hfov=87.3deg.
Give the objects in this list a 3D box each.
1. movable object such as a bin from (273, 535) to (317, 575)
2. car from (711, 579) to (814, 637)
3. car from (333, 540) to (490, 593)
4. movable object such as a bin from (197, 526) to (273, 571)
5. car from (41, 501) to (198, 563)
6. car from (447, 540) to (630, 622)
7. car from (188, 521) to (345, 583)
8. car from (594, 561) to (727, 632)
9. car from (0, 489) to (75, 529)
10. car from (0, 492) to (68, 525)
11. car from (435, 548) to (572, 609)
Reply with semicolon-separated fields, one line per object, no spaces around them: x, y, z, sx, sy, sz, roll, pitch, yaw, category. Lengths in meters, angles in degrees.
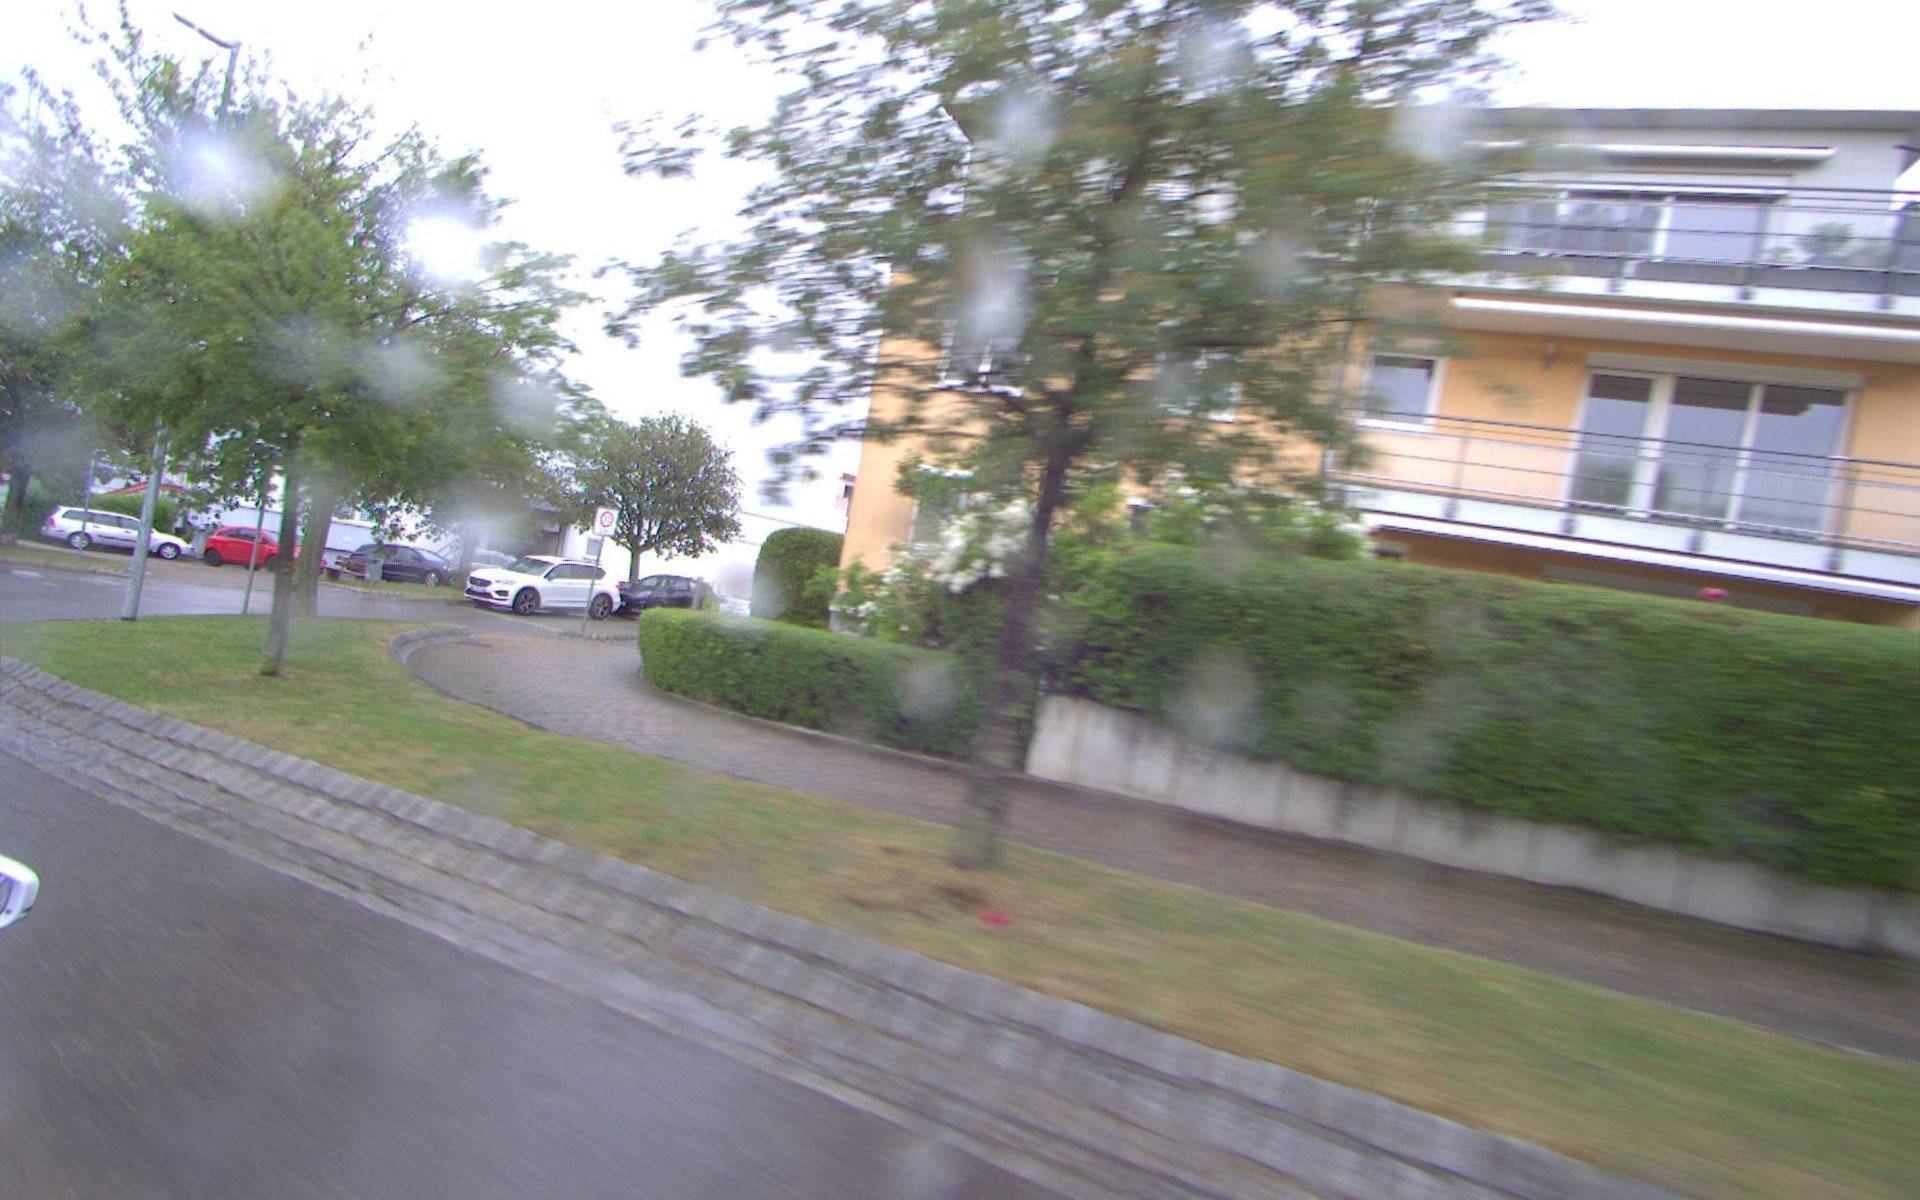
-28.237;-1.908;42.702;1.301;1.514;1.016;7;0;-43;movable object such as a bin
-7.513;0.347;38.622;1.802;1.687;3.830;7;-2;26;car
-19.875;-1.203;36.519;4.738;1.603;1.861;2;-2;7;car
-29.653;-2.107;41.146;2.259;1.522;1.712;7;0;-43;movable object such as a bin
-31.667;-2.548;37.990;1.834;1.602;4.305;6;-3;44;car
-12.069;-0.467;29.157;1.912;1.837;4.711;7;0;25;car
-23.448;-1.616;34.069;4.243;1.603;1.861;5;-2;12;car
-9.940;-0.062;33.675;1.920;1.752;4.021;9;-1;24;car
-56.858;-5.608;61.224;4.330;1.794;2.063;9;-2;-44;car
-59.018;-5.827;63.017;4.582;1.557;2.054;7;-1;-43;car
-17.769;-0.823;39.246;4.374;1.817;1.862;5;-4;6;car
